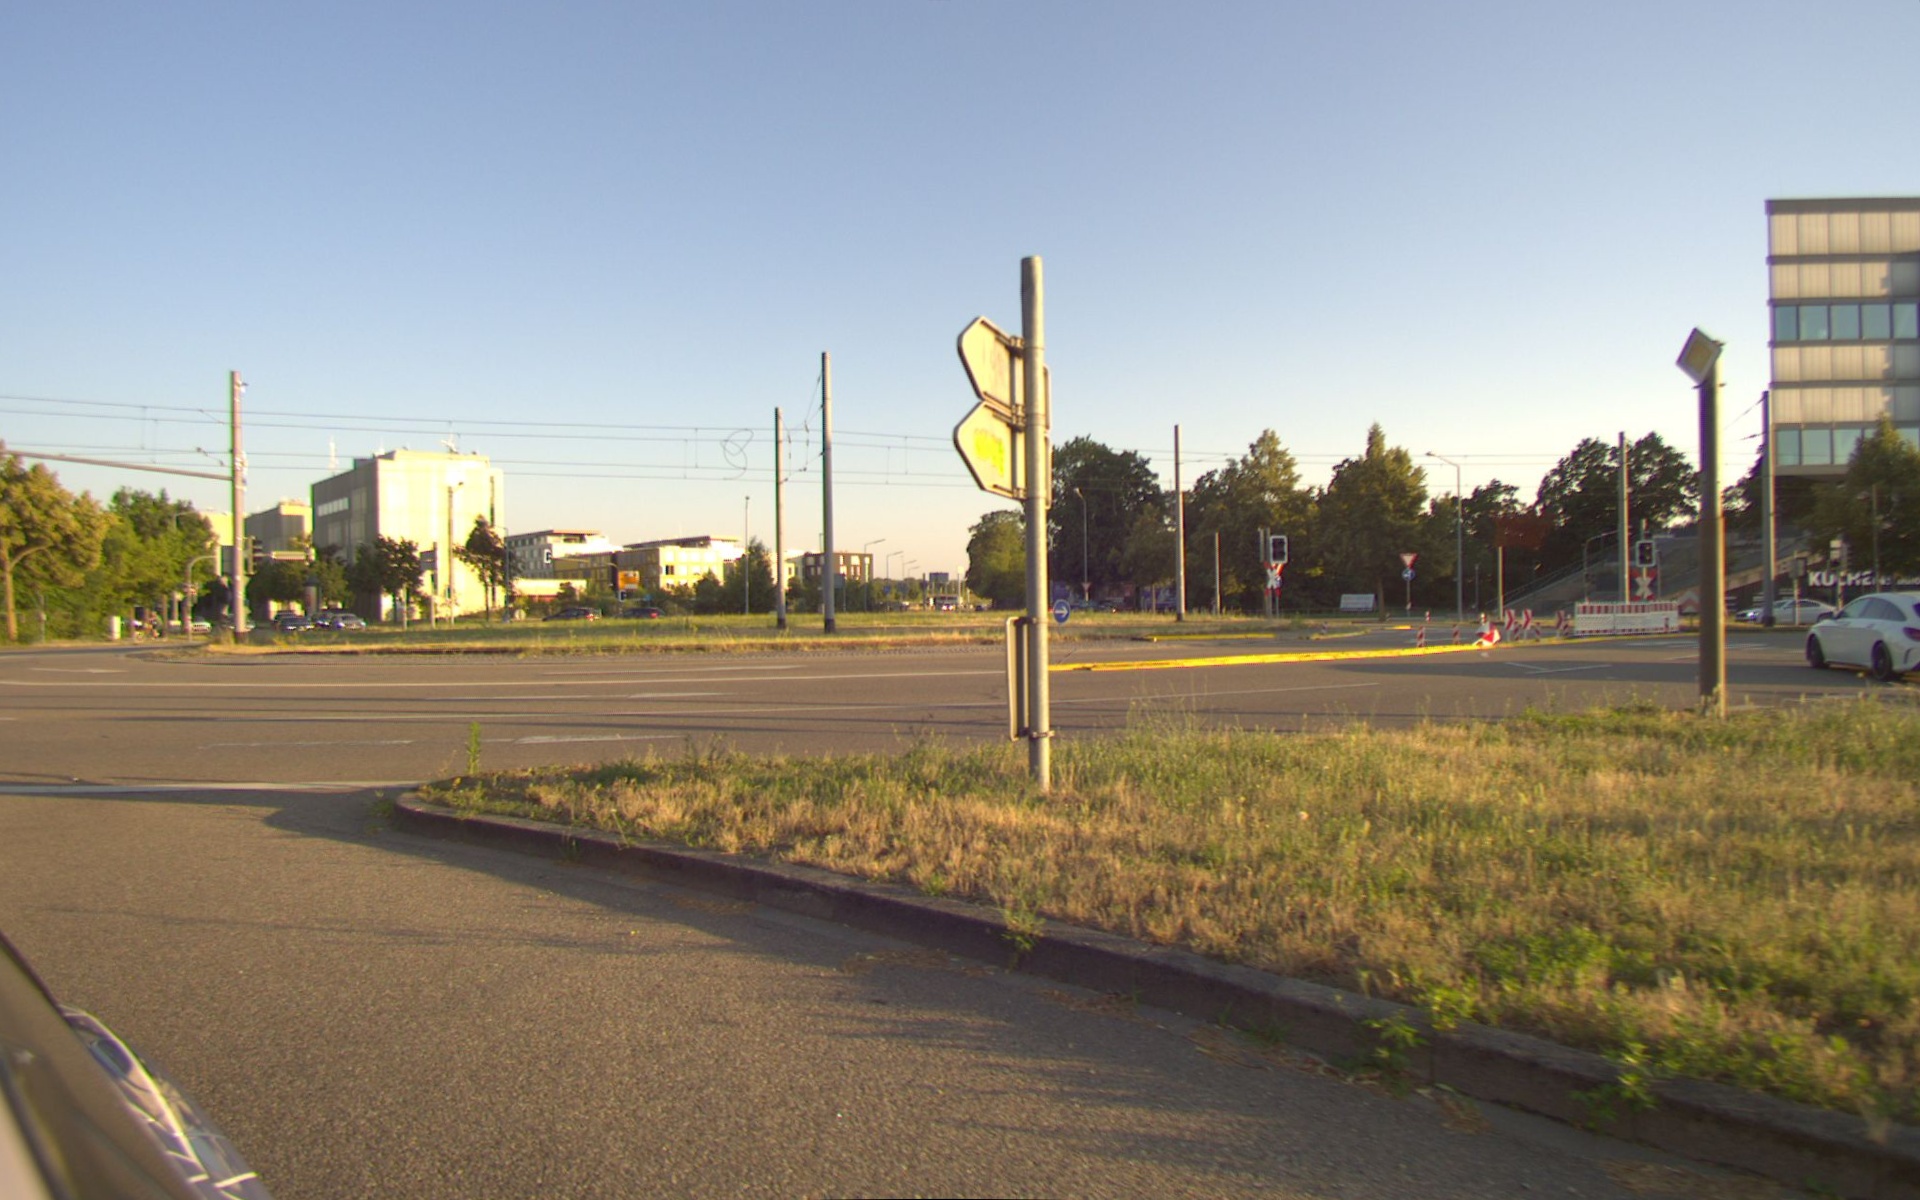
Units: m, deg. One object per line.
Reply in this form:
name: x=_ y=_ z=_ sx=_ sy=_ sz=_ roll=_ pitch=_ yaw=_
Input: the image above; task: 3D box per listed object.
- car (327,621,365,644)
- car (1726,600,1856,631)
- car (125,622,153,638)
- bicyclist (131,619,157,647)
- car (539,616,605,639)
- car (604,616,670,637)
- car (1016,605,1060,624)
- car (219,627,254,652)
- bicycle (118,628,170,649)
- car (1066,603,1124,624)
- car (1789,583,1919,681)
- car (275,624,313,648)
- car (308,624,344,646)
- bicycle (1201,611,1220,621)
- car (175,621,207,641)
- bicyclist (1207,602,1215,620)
car: x=-46.766 y=2.477 z=77.039 sx=1.844 sy=1.637 sz=4.200 roll=-1 pitch=0 yaw=-40
car: x=45.113 y=0.837 z=55.040 sx=5.138 sy=1.556 sz=1.996 roll=-1 pitch=0 yaw=6
car: x=-91.090 y=3.314 z=112.330 sx=4.193 sy=1.637 sz=1.847 roll=-1 pitch=0 yaw=43
bicyclist: x=-49.471 y=1.979 z=61.333 sx=0.807 sy=1.645 sz=0.990 roll=-1 pitch=-1 yaw=30
car: x=-28.015 y=1.989 z=73.091 sx=4.213 sy=1.512 sz=1.834 roll=-1 pitch=0 yaw=14
car: x=-24.413 y=2.005 z=76.530 sx=4.354 sy=1.443 sz=1.939 roll=-2 pitch=-1 yaw=10
car: x=6.245 y=1.209 z=81.820 sx=1.911 sy=1.443 sz=4.608 roll=-1 pitch=-1 yaw=-17
car: x=-54.818 y=2.934 z=76.651 sx=1.844 sy=1.763 sz=3.858 roll=-1 pitch=0 yaw=-40
bicycle: x=-49.453 y=2.345 z=61.358 sx=0.807 sy=1.188 sz=2.305 roll=-1 pitch=0 yaw=30
car: x=9.962 y=1.005 z=74.775 sx=1.912 sy=1.443 sz=4.333 roll=-1 pitch=-1 yaw=-31
car: x=15.913 y=0.489 z=16.609 sx=2.059 sy=1.464 sz=4.627 roll=1 pitch=0 yaw=19
car: x=-50.068 y=2.674 z=76.040 sx=1.844 sy=1.637 sz=4.200 roll=-1 pitch=0 yaw=-40
car: x=-51.366 y=2.796 z=81.984 sx=1.844 sy=1.637 sz=4.200 roll=-1 pitch=0 yaw=-40
bicycle: x=20.026 y=1.297 z=80.838 sx=1.416 sy=0.797 sz=0.468 roll=-2 pitch=-1 yaw=37
car: x=-69.881 y=2.799 z=91.969 sx=1.845 sy=1.637 sz=4.197 roll=-1 pitch=0 yaw=-43
bicyclist: x=20.026 y=0.884 z=80.830 sx=0.447 sy=1.408 sz=0.468 roll=-2 pitch=-1 yaw=36
